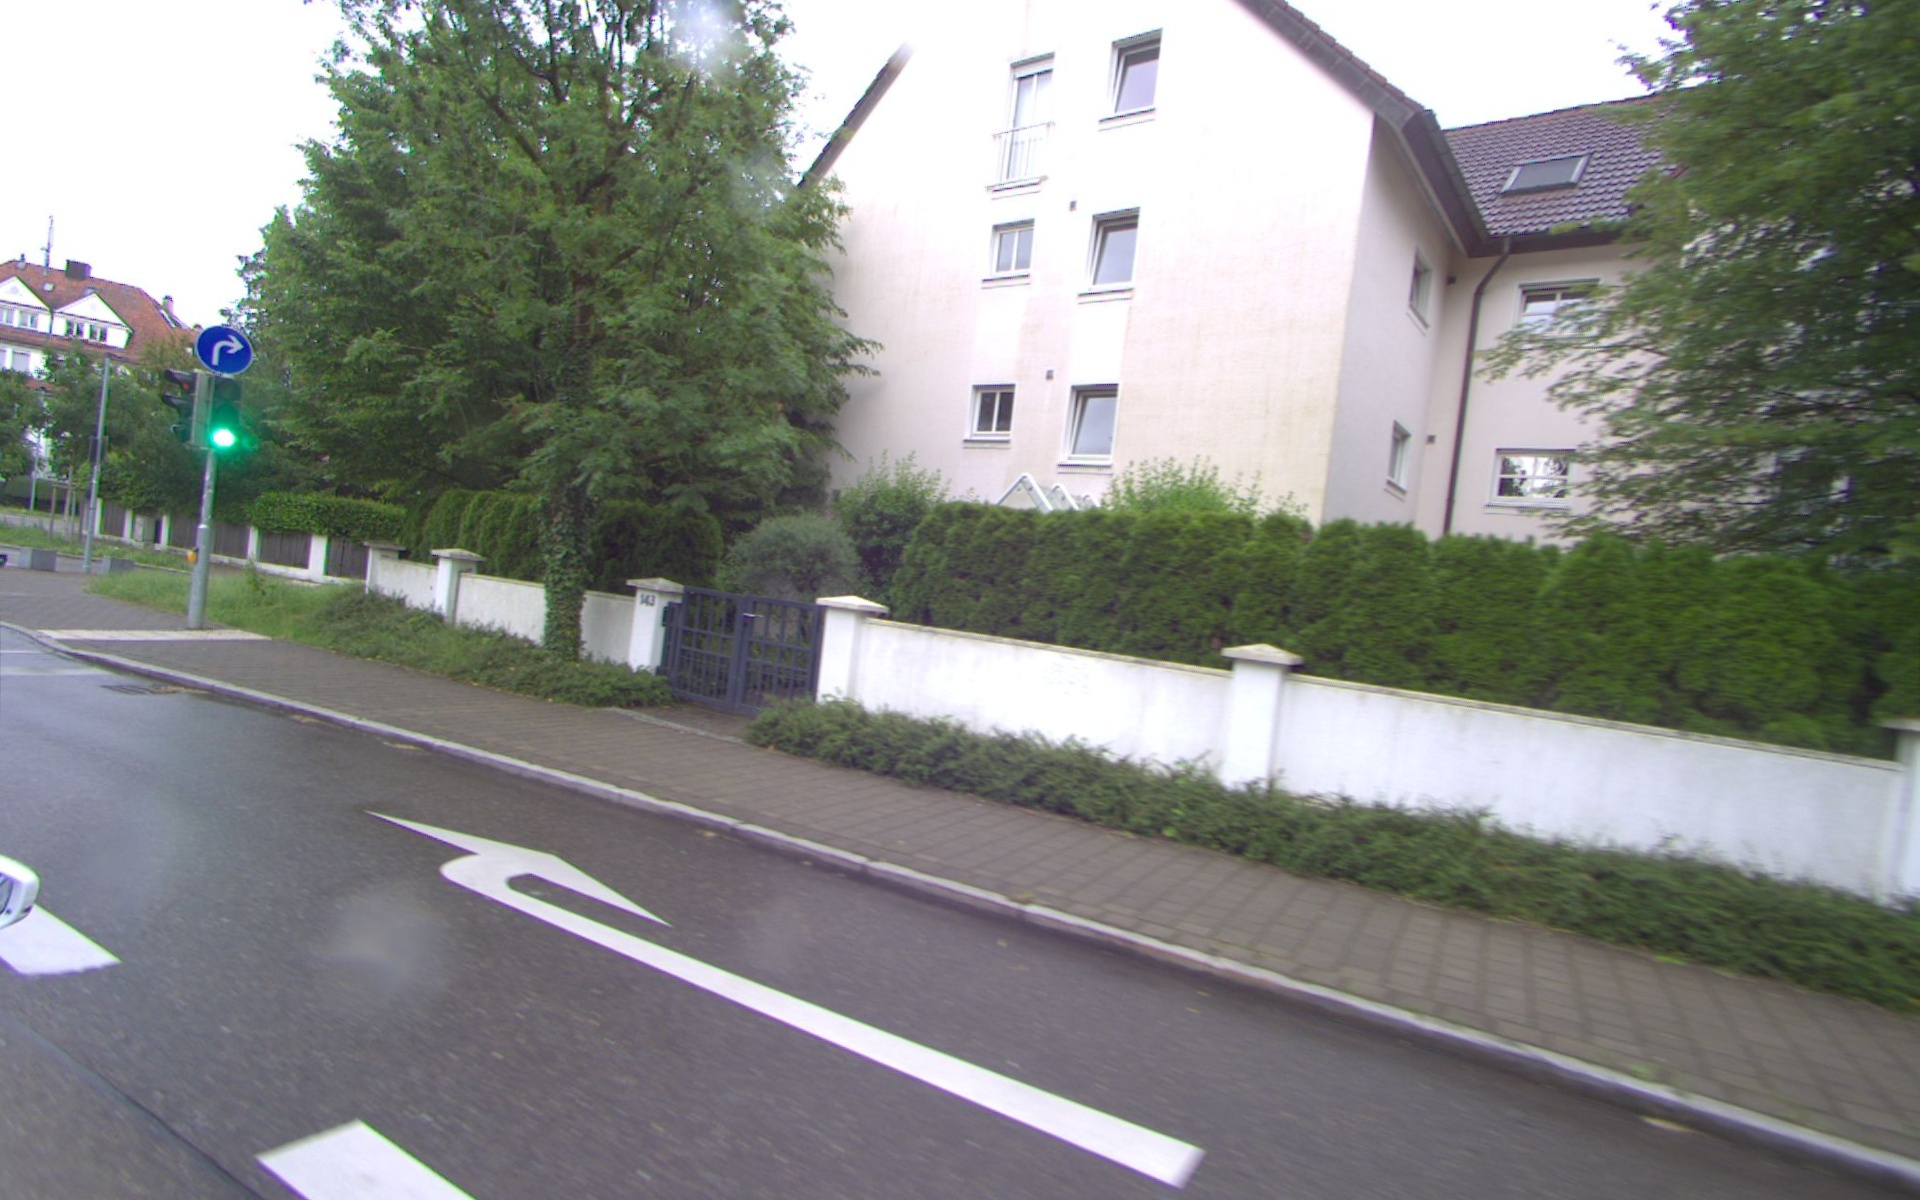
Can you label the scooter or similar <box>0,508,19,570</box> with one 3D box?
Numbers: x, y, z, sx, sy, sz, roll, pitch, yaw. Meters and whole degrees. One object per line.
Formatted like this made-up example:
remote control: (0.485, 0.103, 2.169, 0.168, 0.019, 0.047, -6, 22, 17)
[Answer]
scooter or similar: (-19.662, -1.273, 20.070, 0.399, 1.233, 1.150, 5, -1, 31)
